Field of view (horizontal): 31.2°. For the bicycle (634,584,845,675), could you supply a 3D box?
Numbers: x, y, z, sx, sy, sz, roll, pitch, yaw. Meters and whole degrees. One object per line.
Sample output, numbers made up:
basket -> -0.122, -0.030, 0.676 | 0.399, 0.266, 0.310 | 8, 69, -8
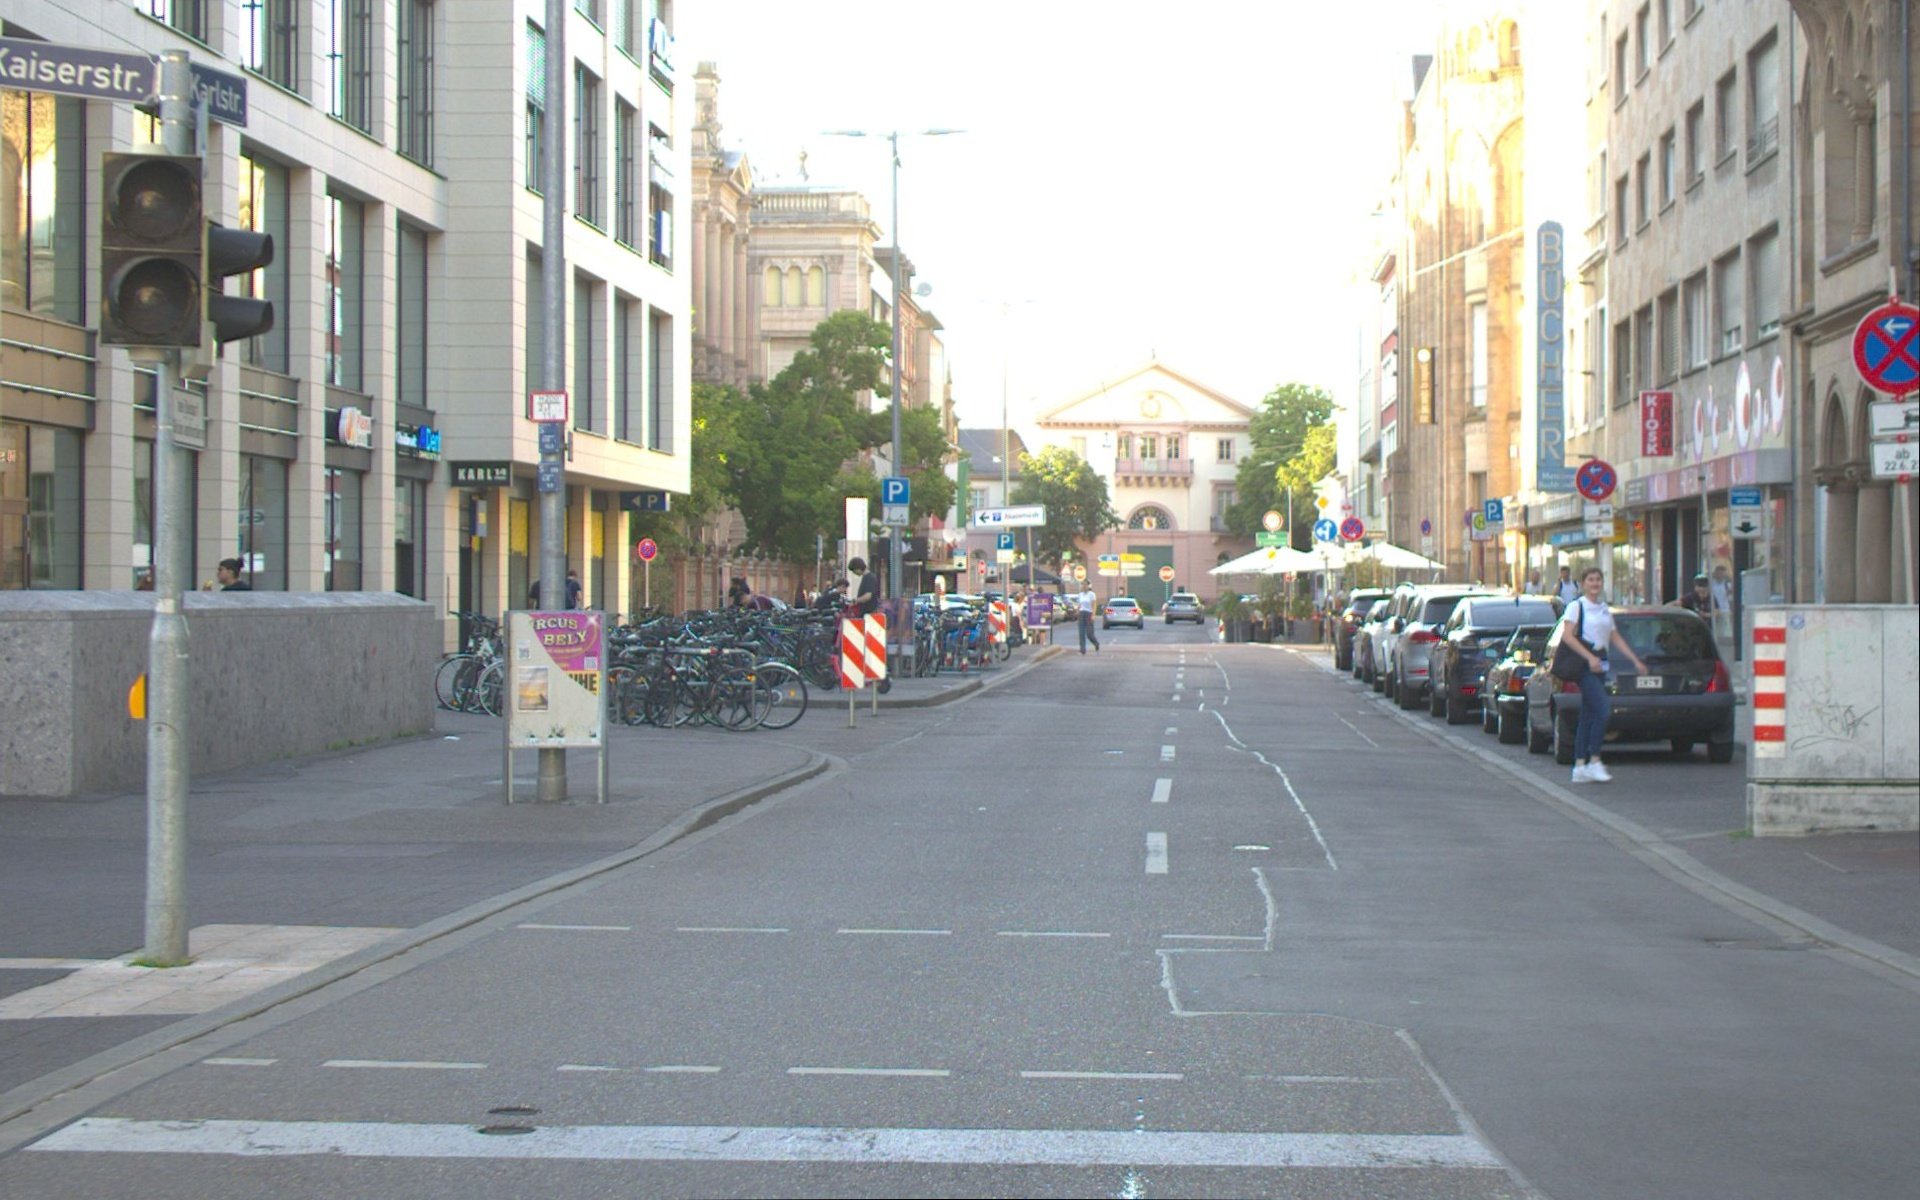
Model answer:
bicycle -> -3.142, 0.414, 49.118 | 2.886, 1.251, 0.804 | 0, 0, -22

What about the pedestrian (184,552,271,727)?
pedestrian -> -7.131, 0.377, 33.493 | 0.681, 1.675, 0.600 | 1, 0, 1

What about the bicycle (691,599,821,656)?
bicycle -> -3.480, 0.467, 58.706 | 2.148, 0.950, 0.640 | 0, 0, 6

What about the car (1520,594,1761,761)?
car -> 6.247, 0.679, 31.883 | 1.679, 1.420, 3.672 | -1, 0, 3

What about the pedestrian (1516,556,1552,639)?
pedestrian -> 12.215, -0.054, 73.159 | 0.644, 1.740, 0.671 | 0, 0, 2

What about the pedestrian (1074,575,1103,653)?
pedestrian -> 2.997, 0.317, 80.104 | 0.599, 1.817, 0.452 | 0, 0, 12

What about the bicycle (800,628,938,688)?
bicycle -> -1.458, 0.939, 55.384 | 2.148, 0.950, 0.640 | 0, 0, 6

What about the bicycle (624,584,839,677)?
bicycle -> -3.193, 0.415, 48.145 | 2.886, 1.251, 0.804 | 0, 0, -22

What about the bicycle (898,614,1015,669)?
bicycle -> -0.068, 0.779, 64.806 | 2.148, 1.026, 0.640 | 0, 0, 6

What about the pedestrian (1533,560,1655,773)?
pedestrian -> 5.191, 0.538, 28.182 | 0.834, 1.715, 0.682 | 0, 0, -4

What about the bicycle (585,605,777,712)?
bicycle -> -2.992, 0.631, 36.933 | 1.967, 1.118, 0.558 | 1, 0, -25

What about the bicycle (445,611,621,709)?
bicycle -> -5.029, 0.712, 40.550 | 1.967, 1.118, 0.558 | 1, 0, -25

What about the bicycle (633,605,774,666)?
bicycle -> -4.041, 0.562, 54.225 | 2.148, 0.950, 0.640 | 0, 0, 6

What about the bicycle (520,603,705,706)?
bicycle -> -3.891, 0.610, 38.575 | 1.967, 1.118, 0.558 | 1, 0, -25

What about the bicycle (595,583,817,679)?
bicycle -> -3.443, 0.413, 46.686 | 2.886, 1.251, 0.804 | 0, 0, -22

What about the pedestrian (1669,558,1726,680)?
pedestrian -> 10.251, 0.260, 47.792 | 0.644, 1.684, 0.671 | 0, 0, 2

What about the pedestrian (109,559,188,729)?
pedestrian -> -7.911, 0.425, 33.512 | 0.600, 1.641, 0.546 | 1, 0, 1

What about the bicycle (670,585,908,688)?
bicycle -> -2.147, 0.445, 43.311 | 2.886, 1.251, 0.804 | 0, 0, -22

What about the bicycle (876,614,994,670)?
bicycle -> -0.465, 0.772, 64.043 | 2.148, 1.026, 0.640 | 0, 0, 6

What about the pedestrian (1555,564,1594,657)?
pedestrian -> 11.936, 0.203, 66.830 | 0.644, 1.794, 0.671 | 0, 0, 2

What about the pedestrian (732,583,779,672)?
pedestrian -> -3.536, 0.466, 59.361 | 0.751, 1.524, 0.485 | 0, 0, 4

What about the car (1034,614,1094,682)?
car -> 3.204, 1.465, 105.533 | 1.711, 2.007, 3.999 | 0, 0, 3

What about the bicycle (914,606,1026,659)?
bicycle -> 0.200, 0.628, 67.467 | 2.148, 1.026, 0.640 | 0, 0, 6

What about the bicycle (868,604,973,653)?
bicycle -> -0.831, 0.598, 72.701 | 2.148, 1.026, 0.640 | 0, 0, 6

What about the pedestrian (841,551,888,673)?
pedestrian -> -1.436, 0.180, 51.521 | 0.657, 1.817, 0.528 | 0, 0, -6

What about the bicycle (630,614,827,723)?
bicycle -> -2.429, 0.721, 36.139 | 1.967, 1.118, 0.558 | 1, 0, -25

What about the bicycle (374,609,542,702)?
bicycle -> -6.245, 0.696, 42.786 | 1.967, 1.118, 0.558 | 1, 0, -25

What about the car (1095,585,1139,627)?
car -> 7.443, 0.272, 162.750 | 1.994, 1.897, 3.999 | 1, 0, 3

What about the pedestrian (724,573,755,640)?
pedestrian -> -5.321, 0.153, 82.987 | 0.680, 1.615, 0.573 | 0, 0, 4

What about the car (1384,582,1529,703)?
car -> 6.999, 0.573, 48.765 | 1.679, 1.608, 4.028 | -1, 0, 3

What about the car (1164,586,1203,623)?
car -> 11.809, 0.218, 181.648 | 1.994, 1.897, 3.999 | 1, 0, 3

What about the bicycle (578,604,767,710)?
bicycle -> -3.141, 0.627, 37.663 | 1.967, 1.118, 0.558 | 1, 0, -25

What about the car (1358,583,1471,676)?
car -> 7.966, 0.498, 60.442 | 1.679, 1.542, 3.672 | -1, 0, 3

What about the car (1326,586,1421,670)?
car -> 8.488, 0.559, 70.768 | 1.679, 1.660, 3.672 | -1, 0, 3

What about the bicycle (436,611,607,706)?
bicycle -> -5.311, 0.716, 41.668 | 1.967, 1.118, 0.558 | 1, 0, -25

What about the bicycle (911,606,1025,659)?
bicycle -> 0.161, 0.629, 66.698 | 2.148, 1.026, 0.640 | 0, 0, 6

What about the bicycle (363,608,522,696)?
bicycle -> -6.767, 0.681, 44.967 | 1.967, 1.118, 0.558 | 1, 0, -25

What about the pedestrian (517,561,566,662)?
pedestrian -> -6.746, 0.181, 55.432 | 0.680, 1.615, 0.573 | 0, 0, 4

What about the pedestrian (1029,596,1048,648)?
pedestrian -> 2.265, 0.625, 99.169 | 0.549, 1.481, 0.565 | 0, 0, 2

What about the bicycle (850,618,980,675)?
bicycle -> -0.758, 0.789, 58.556 | 2.148, 0.950, 0.640 | 0, 0, 6

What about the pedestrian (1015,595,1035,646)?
pedestrian -> 1.896, 0.598, 100.056 | 0.549, 1.481, 0.565 | 0, 0, 2

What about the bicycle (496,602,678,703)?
bicycle -> -4.253, 0.601, 39.244 | 1.967, 1.118, 0.558 | 1, 0, -25

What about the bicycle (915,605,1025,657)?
bicycle -> 0.201, 0.625, 69.232 | 2.148, 1.026, 0.640 | 0, 0, 6

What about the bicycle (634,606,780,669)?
bicycle -> -3.854, 0.568, 52.406 | 2.148, 0.950, 0.640 | 0, 0, 6

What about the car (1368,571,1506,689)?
car -> 7.545, 0.452, 54.714 | 1.799, 1.762, 4.397 | -1, 0, 3

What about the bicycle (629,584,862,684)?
bicycle -> -2.769, 0.430, 44.444 | 2.886, 1.251, 0.804 | 0, 0, -22

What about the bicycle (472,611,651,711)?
bicycle -> -4.615, 0.710, 39.887 | 1.967, 1.118, 0.558 | 1, 0, -25

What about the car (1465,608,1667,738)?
car -> 6.531, 0.755, 37.404 | 1.679, 1.286, 4.046 | -1, 0, 3

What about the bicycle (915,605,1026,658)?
bicycle -> 0.210, 0.627, 68.504 | 2.148, 1.026, 0.640 | 0, 0, 6

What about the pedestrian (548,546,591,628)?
pedestrian -> -7.723, -0.259, 68.012 | 0.731, 1.615, 0.661 | 0, 0, 4

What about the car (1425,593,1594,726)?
car -> 6.749, 0.706, 42.508 | 1.679, 1.542, 3.672 | -1, 0, 3
